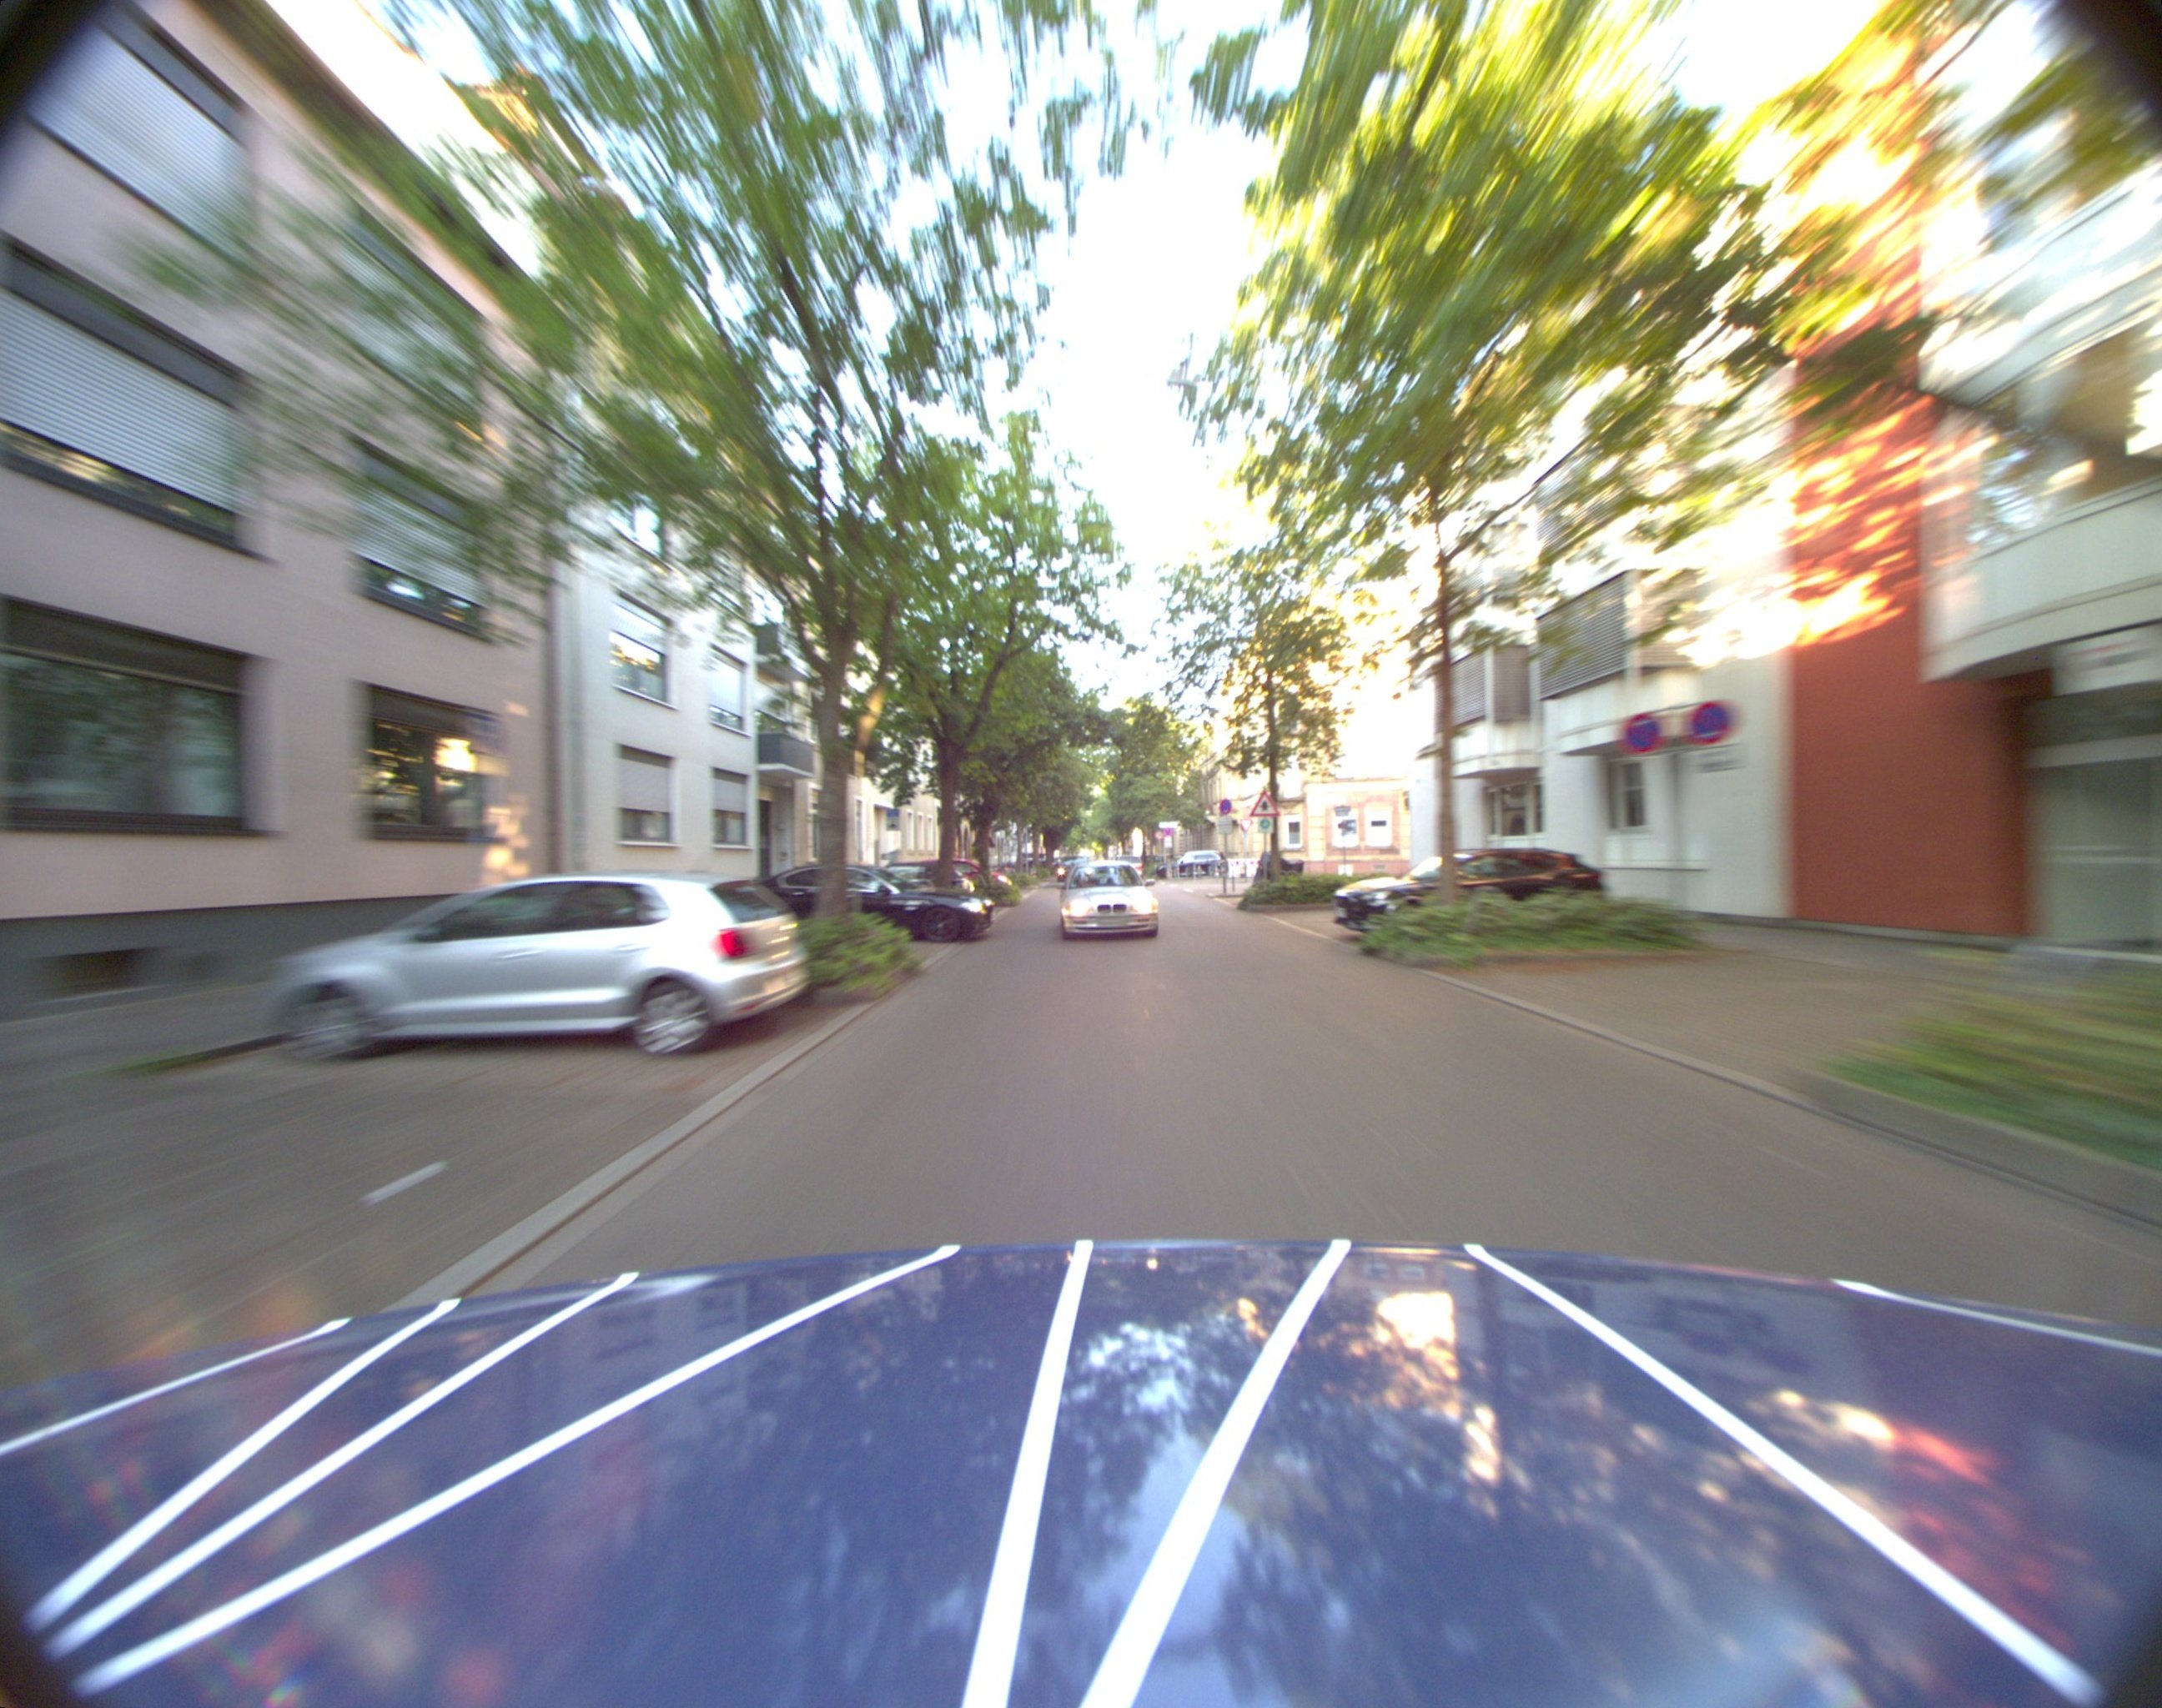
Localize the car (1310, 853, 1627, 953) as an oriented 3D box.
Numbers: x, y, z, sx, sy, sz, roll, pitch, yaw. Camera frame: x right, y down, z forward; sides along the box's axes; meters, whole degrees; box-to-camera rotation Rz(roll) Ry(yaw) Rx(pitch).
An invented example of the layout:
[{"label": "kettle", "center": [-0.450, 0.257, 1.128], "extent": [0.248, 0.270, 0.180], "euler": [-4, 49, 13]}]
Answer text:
[{"label": "car", "center": [6.525, 0.789, 13.162], "extent": [4.520, 1.517, 1.871], "euler": [-1, 0, 0]}]

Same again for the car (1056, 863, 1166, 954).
[{"label": "car", "center": [0.501, 0.900, 14.337], "extent": [1.736, 1.363, 4.332], "euler": [-1, 0, 1]}]

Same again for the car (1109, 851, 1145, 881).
[{"label": "car", "center": [2.744, 0.693, 46.573], "extent": [1.787, 1.679, 4.385], "euler": [-1, 0, -2]}]

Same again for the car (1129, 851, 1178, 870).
[{"label": "car", "center": [6.873, 0.613, 72.232], "extent": [4.529, 1.706, 2.000], "euler": [-1, 0, 1]}]

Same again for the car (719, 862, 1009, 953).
[{"label": "car", "center": [-3.922, 0.953, 14.411], "extent": [4.886, 1.488, 1.988], "euler": [-1, 0, 1]}]

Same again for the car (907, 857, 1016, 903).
[{"label": "car", "center": [-4.338, 0.915, 27.949], "extent": [3.731, 1.544, 1.754], "euler": [-1, 0, -2]}]

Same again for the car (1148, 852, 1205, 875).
[{"label": "car", "center": [7.068, 0.679, 55.861], "extent": [3.993, 1.576, 2.002], "euler": [-1, 1, 11]}]

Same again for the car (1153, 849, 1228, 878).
[{"label": "car", "center": [6.887, 0.581, 48.159], "extent": [4.601, 1.725, 2.142], "euler": [-1, 0, 5]}]

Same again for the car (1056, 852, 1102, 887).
[{"label": "car", "center": [-0.044, 0.747, 38.485], "extent": [1.892, 1.636, 4.001], "euler": [-2, 0, 5]}]

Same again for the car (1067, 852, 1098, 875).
[{"label": "car", "center": [0.132, 0.680, 56.670], "extent": [1.915, 1.679, 3.972], "euler": [-1, 0, 6]}]

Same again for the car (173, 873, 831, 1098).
[{"label": "car", "center": [-4.475, 0.969, 6.440], "extent": [4.093, 1.482, 1.797], "euler": [-1, 0, -3]}]

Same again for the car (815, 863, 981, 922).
[{"label": "car", "center": [-4.531, 0.940, 19.264], "extent": [3.846, 1.403, 1.712], "euler": [0, 0, -4]}]

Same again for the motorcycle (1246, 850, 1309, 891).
[{"label": "motorcycle", "center": [7.476, 0.611, 28.895], "extent": [2.234, 1.461, 0.900], "euler": [-1, 1, -22]}]
